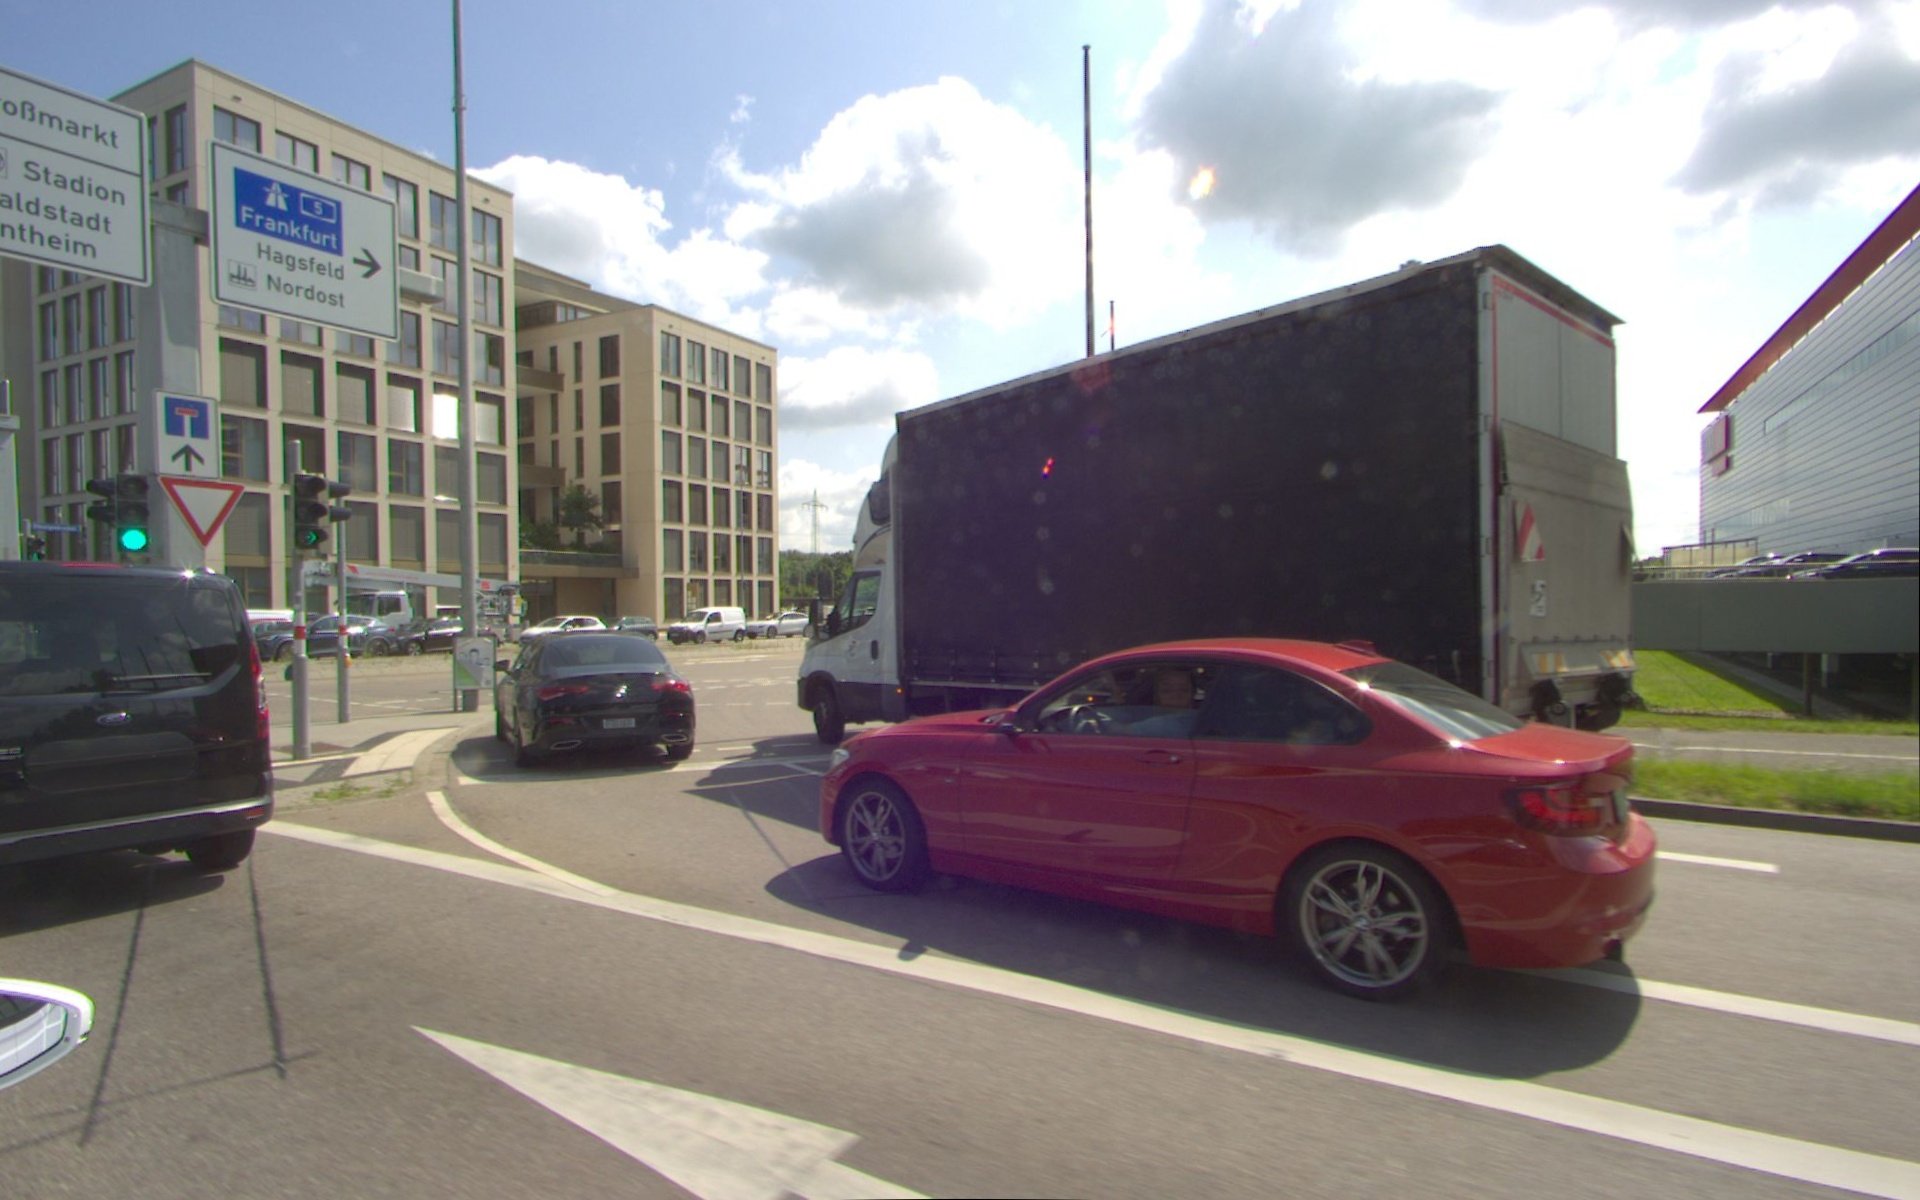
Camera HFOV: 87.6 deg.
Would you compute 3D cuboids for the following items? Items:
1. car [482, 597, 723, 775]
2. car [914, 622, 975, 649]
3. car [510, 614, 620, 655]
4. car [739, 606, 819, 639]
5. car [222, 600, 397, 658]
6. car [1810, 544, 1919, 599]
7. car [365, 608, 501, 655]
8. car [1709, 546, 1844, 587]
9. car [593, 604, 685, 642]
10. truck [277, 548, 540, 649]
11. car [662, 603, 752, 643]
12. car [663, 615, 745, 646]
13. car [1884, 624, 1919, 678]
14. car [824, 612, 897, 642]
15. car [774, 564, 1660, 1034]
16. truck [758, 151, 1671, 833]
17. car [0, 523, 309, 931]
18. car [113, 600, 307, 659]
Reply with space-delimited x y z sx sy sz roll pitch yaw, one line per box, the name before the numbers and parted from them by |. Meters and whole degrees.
car | -4.344 0.882 11.731 1.839 1.676 4.195 1 -2 -32
car | -1.076 2.511 70.438 1.808 1.861 4.408 -2 -3 42
car | -16.735 1.463 42.632 1.800 1.647 4.196 -2 -2 28
car | -10.736 1.376 59.575 1.806 1.861 4.693 -2 -2 38
car | -19.771 0.918 30.648 1.798 1.647 4.200 -1 -2 24
car | 30.192 -0.894 31.899 4.352 1.626 1.949 -1 -1 26
car | -19.547 1.180 37.343 1.801 1.647 4.193 -2 -2 30
car | 36.563 -1.461 45.002 4.355 1.626 1.947 -1 -1 28
car | -16.255 1.202 50.988 1.801 1.861 4.427 -2 -2 30
truck | -21.969 0.129 40.815 2.632 3.600 9.756 -1 -2 25
car | -12.601 1.169 50.041 1.801 1.861 4.427 -2 -2 30
car | -14.000 1.688 54.919 1.801 1.643 4.427 -2 -2 30
car | 33.423 1.662 32.764 4.296 1.772 1.992 -1 -1 28
car | -6.412 1.739 64.856 1.808 1.861 4.675 -2 -3 42
car | 1.183 0.804 5.473 4.158 1.676 1.856 -2 -2 31
truck | 1.578 -0.464 10.426 3.189 4.078 8.992 1 -2 -41
car | -5.983 0.646 6.164 3.942 1.929 1.820 -1 -1 32
car | -25.322 1.027 34.058 1.967 1.861 4.979 -1 -2 24
